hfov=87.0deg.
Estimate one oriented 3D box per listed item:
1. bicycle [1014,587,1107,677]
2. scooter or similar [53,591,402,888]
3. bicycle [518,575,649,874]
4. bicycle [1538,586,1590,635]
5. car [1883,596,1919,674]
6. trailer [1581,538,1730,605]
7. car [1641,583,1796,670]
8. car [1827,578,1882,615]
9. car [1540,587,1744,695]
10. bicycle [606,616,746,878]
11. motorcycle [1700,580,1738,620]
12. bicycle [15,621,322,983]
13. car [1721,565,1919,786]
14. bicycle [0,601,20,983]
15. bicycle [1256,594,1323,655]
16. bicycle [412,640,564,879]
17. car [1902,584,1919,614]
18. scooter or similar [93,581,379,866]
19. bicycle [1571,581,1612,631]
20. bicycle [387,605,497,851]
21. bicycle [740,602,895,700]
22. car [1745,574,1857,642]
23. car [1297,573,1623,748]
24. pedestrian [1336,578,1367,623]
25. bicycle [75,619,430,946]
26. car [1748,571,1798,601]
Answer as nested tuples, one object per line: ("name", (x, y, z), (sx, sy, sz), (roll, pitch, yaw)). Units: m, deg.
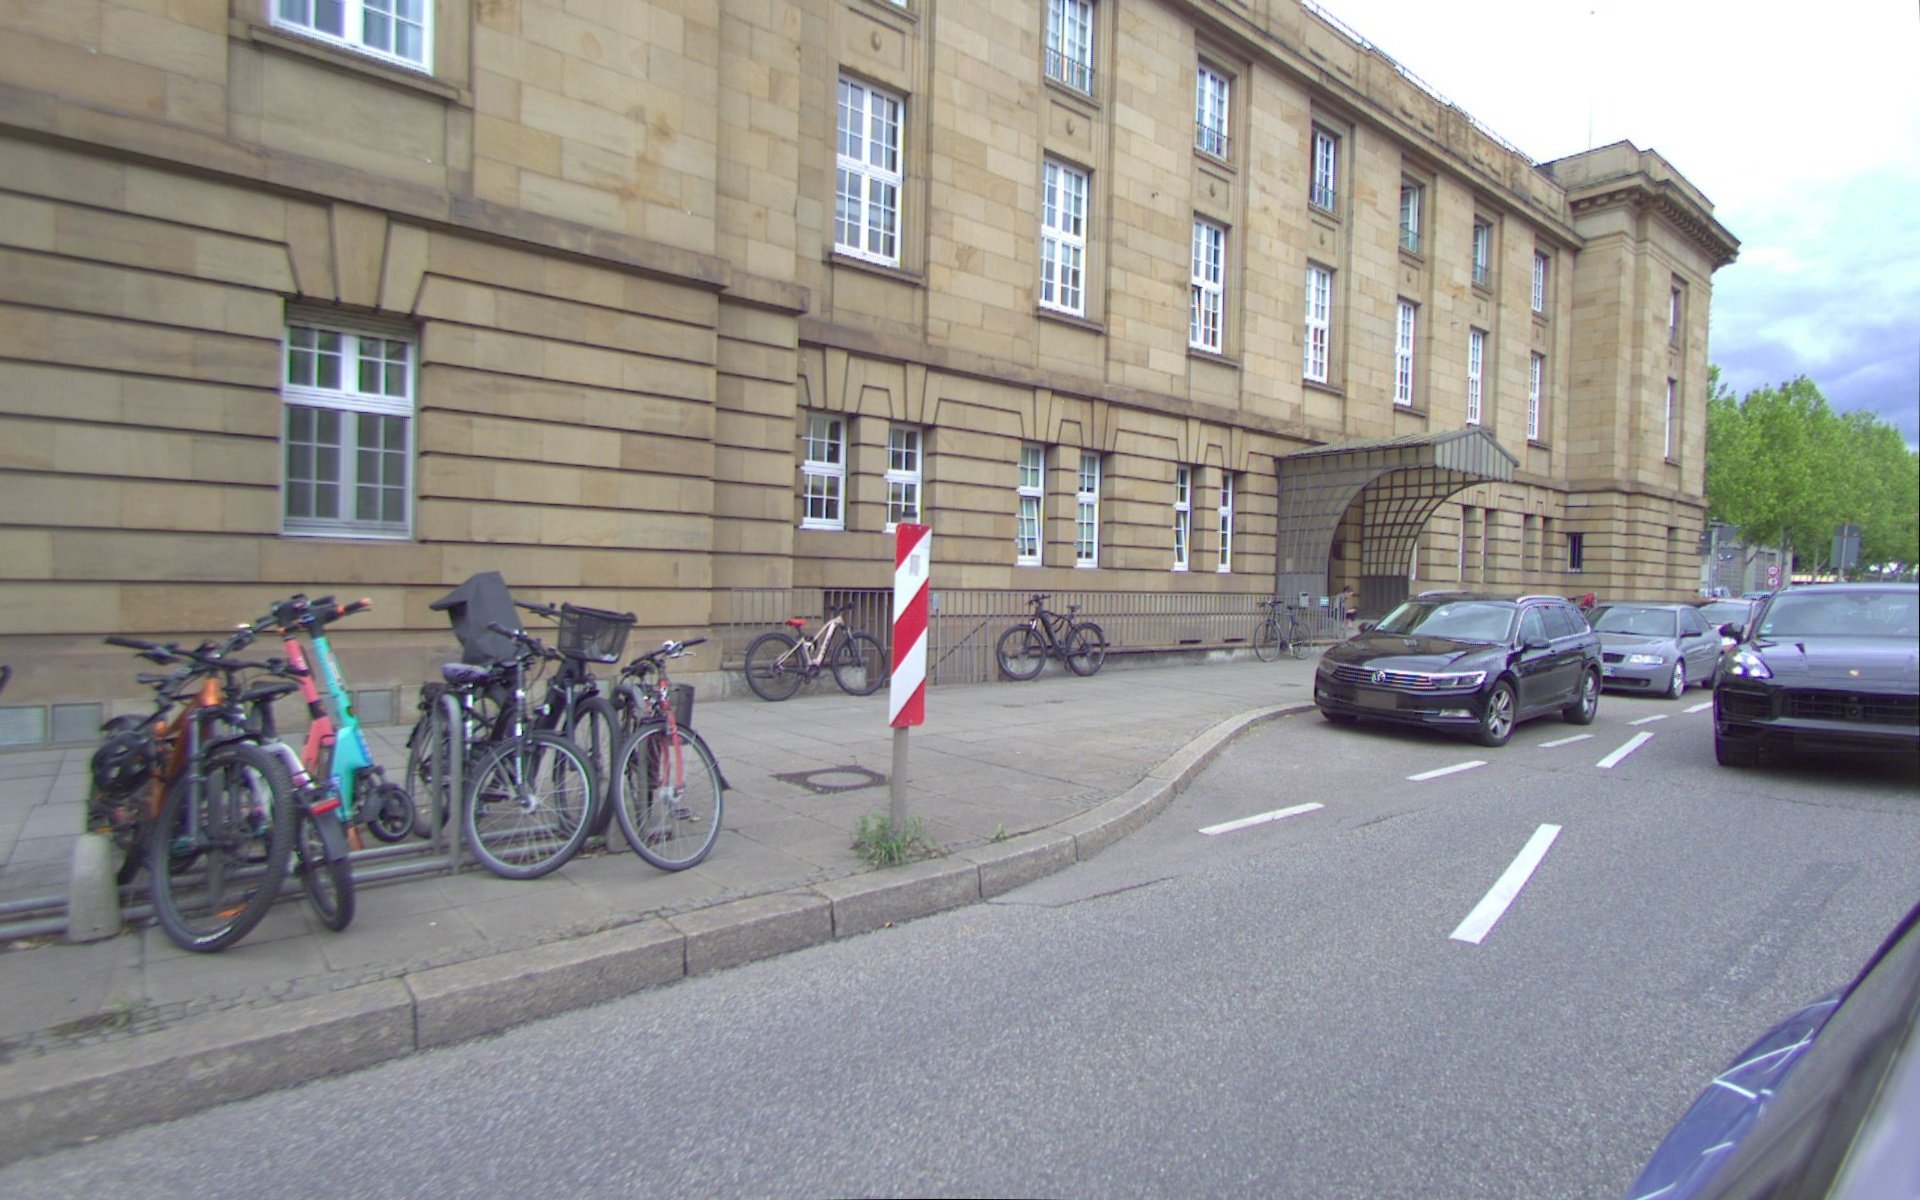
("bicycle", (1.421, 0.420, 14.102), (1.510, 1.198, 0.276), (-1, 0, -38))
("scooter or similar", (-3.387, 0.588, 4.798), (1.286, 1.239, 0.427), (-1, 0, -30))
("bicycle", (-1.906, 0.526, 5.120), (0.532, 1.273, 1.550), (0, 0, -21))
("bicycle", (15.537, 0.250, 26.032), (1.882, 1.232, 0.556), (0, 1, -40))
("car", (19.502, 0.635, 19.792), (3.935, 1.393, 1.930), (-1, -1, -45))
("trailer", (46.437, -1.855, 67.302), (13.702, 4.153, 3.159), (-1, 0, -33))
("car", (14.859, 0.441, 19.754), (3.791, 1.473, 1.619), (-1, 3, -41))
("car", (44.093, -0.175, 49.860), (1.805, 1.760, 4.413), (0, 0, 45))
("car", (10.879, 0.552, 16.047), (3.927, 1.443, 1.712), (-1, 3, -41))
("bicycle", (-1.529, 0.651, 5.276), (0.573, 1.088, 1.671), (0, 1, -20))
("motorcycle", (24.983, -0.010, 33.315), (1.887, 1.257, 0.456), (0, 2, -37))
("bicycle", (-3.063, 0.664, 3.867), (1.602, 1.144, 0.404), (0, 0, 32))
("car", (8.629, 0.566, 9.338), (4.130, 1.678, 1.905), (0, 0, -43))
("bicycle", (-3.870, 0.618, 3.712), (0.594, 1.224, 1.759), (0, 0, -42))
("bicycle", (5.874, 0.423, 17.995), (1.826, 1.042, 0.222), (0, 0, -41))
("bicycle", (-2.418, 0.732, 5.333), (0.601, 0.928, 1.737), (0, 1, -21))
("car", (65.913, -0.065, 69.102), (3.932, 2.039, 1.996), (0, 1, -42))
("scooter or similar", (-3.628, 0.561, 5.154), (1.126, 1.295, 0.564), (0, 0, -34))
("bicycle", (16.937, 0.152, 27.135), (1.759, 1.304, 0.413), (0, 1, -41))
("bicycle", (-2.627, 0.550, 5.114), (0.427, 1.041, 1.570), (0, 0, -28))
("bicycle", (-1.586, 0.547, 11.538), (1.928, 1.010, 0.240), (-1, 1, -41))
("car", (21.377, 0.171, 25.681), (3.643, 1.571, 1.549), (0, 2, -41))
("car", (5.673, 0.527, 11.236), (4.252, 1.504, 1.791), (0, 3, -43))
("pedestrian", (7.936, 0.009, 20.515), (0.366, 0.884, 0.430), (-1, 0, -39))
("bicycle", (-2.934, 0.662, 4.167), (1.597, 1.144, 0.466), (0, 0, 25))
("car", (42.570, -0.740, 52.967), (3.444, 1.549, 1.582), (-1, 1, -43))
